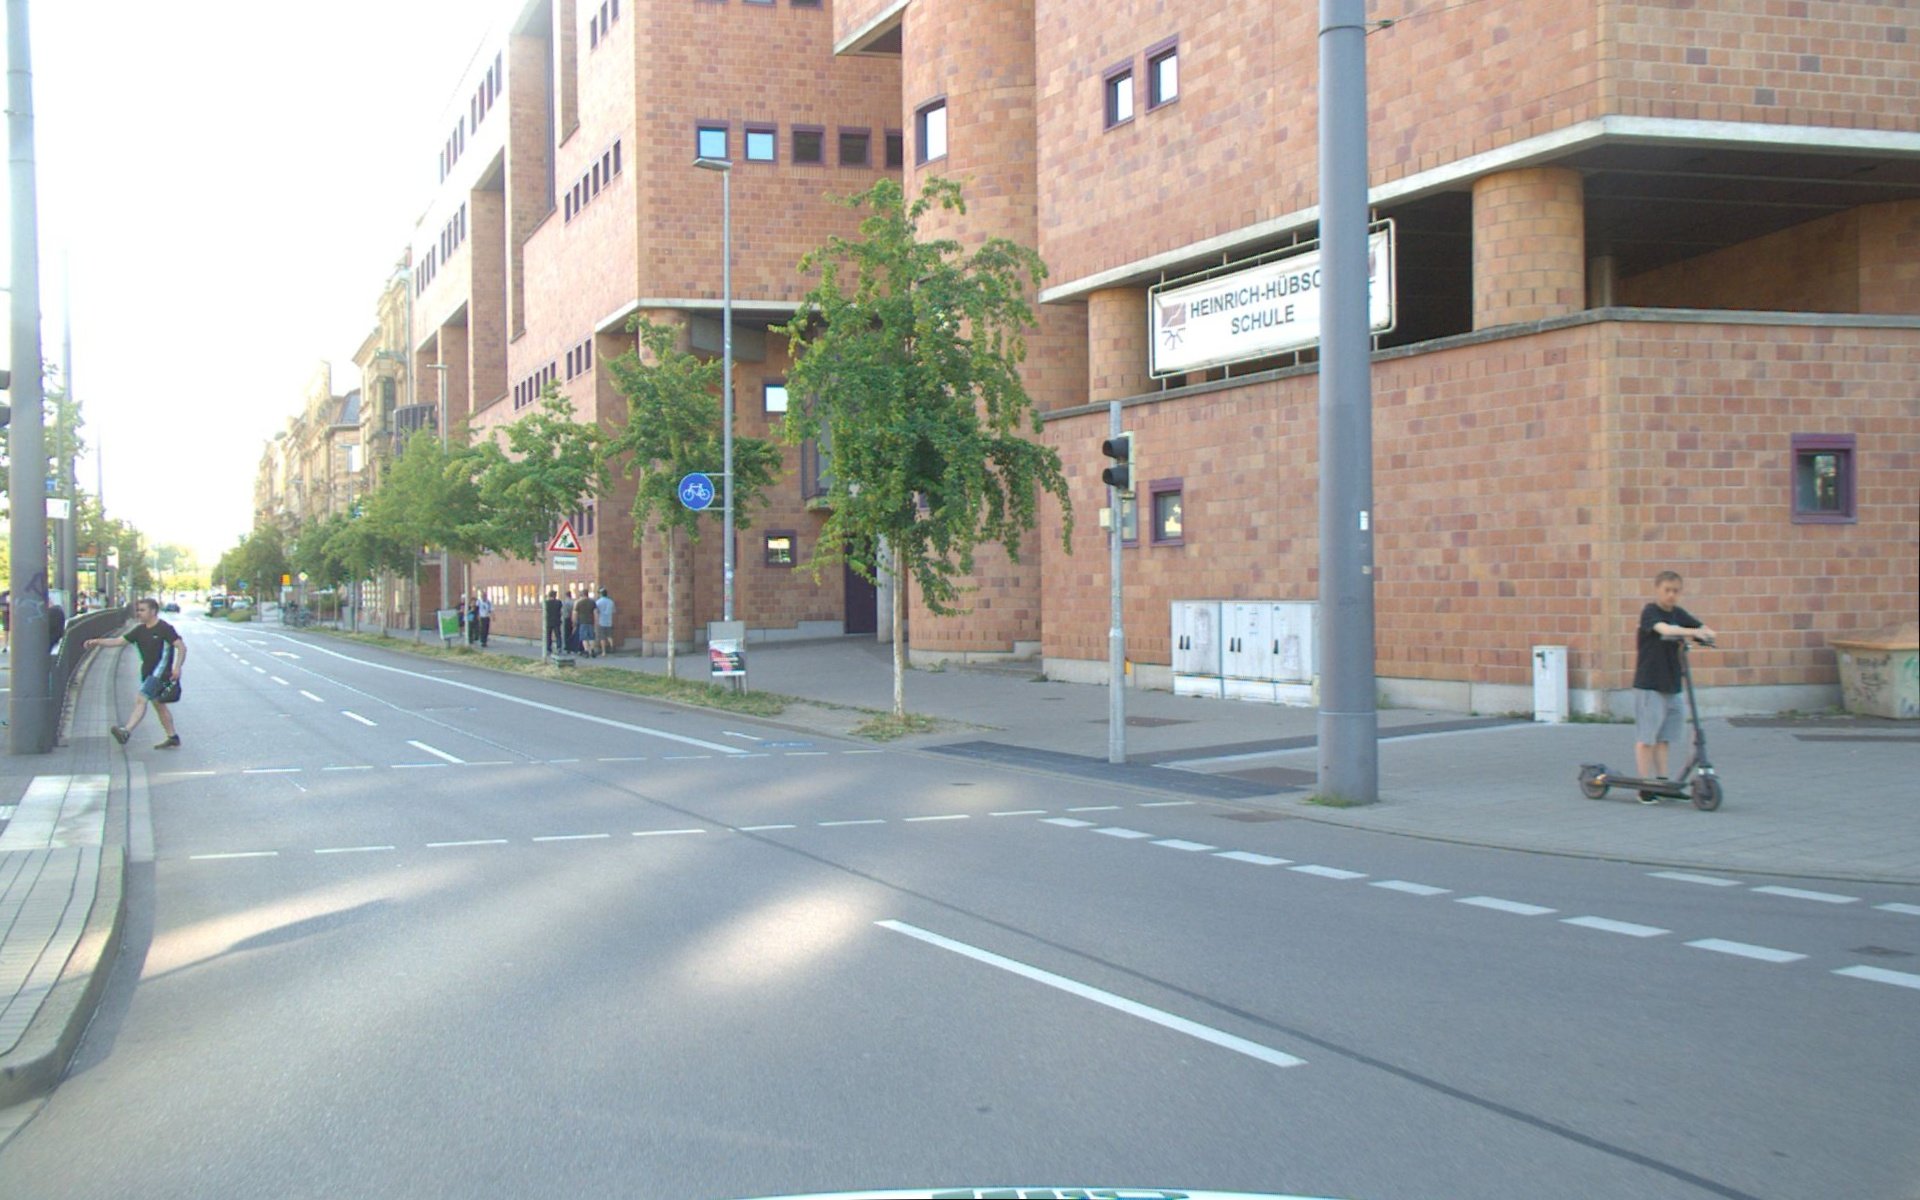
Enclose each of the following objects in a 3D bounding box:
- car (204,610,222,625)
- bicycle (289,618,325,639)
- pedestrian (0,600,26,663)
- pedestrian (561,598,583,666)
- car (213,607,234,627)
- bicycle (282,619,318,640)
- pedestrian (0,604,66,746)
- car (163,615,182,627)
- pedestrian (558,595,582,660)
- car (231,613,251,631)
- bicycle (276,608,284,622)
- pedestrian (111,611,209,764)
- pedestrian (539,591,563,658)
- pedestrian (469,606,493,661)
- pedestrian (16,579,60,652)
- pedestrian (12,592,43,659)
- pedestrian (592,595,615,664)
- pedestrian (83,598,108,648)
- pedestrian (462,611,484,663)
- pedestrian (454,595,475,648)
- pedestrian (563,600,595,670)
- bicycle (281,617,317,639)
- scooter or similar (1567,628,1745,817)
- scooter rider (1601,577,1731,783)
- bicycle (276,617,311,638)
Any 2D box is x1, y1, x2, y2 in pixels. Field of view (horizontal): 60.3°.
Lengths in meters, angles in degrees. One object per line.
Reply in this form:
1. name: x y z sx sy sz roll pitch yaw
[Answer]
1. car: -82.619 1.944 182.939 1.826 1.483 4.124 -1 1 -24
2. bicycle: -37.854 1.645 95.824 1.808 1.083 0.656 -4 3 -32
3. pedestrian: -23.021 0.755 40.048 0.674 1.509 0.821 0 0 -27
4. pedestrian: -10.287 0.848 43.862 0.527 1.787 0.692 -1 0 -16
5. car: -76.217 1.762 171.157 1.861 1.971 4.439 2 0 -24
6. bicycle: -37.667 1.669 94.394 1.808 1.083 0.656 -4 3 -32
7. pedestrian: -10.496 0.835 18.732 0.480 1.565 0.550 -1 0 -12
8. car: -102.122 2.770 214.563 1.771 1.489 3.978 -1 0 -19
9. pedestrian: -10.718 0.750 45.436 0.530 1.787 0.418 -1 0 -26
10. car: -68.146 2.082 156.757 1.615 1.511 4.181 -3 2 -23
11. bicycle: -74.010 1.619 179.913 0.653 1.427 2.332 -1 1 -26
12. pedestrian: -8.530 0.913 17.632 0.709 1.565 0.838 -1 0 -43
13. pedestrian: -11.014 0.654 44.547 0.530 1.787 0.460 -1 0 -28
14. pedestrian: -15.453 1.069 53.354 0.565 1.743 0.634 -1 0 -32
15. pedestrian: -22.144 0.368 39.752 0.878 1.701 0.666 -1 0 -28
16. pedestrian: -24.188 0.648 42.920 0.649 1.701 0.666 -1 0 -28
17. pedestrian: -9.306 0.764 43.193 0.527 1.787 0.692 -1 0 -16
18. pedestrian: -27.870 0.729 53.344 0.665 1.589 0.898 -1 0 -27
19. pedestrian: -15.461 1.165 52.489 0.511 1.633 0.697 -1 0 -31
20. pedestrian: -16.827 0.730 56.142 0.533 1.787 0.415 -1 0 -40
21. pedestrian: -9.751 0.887 42.344 0.718 1.787 0.694 -1 0 -7
22. bicycle: -38.739 1.636 96.915 1.808 1.083 0.656 -4 3 -32
23. scooter or similar: 5.237 0.889 12.478 0.523 1.341 1.119 -1 0 -34
24. scooter rider: 5.287 0.582 12.400 0.501 1.486 0.713 -1 0 -33
25. bicycle: -39.568 1.625 98.134 1.808 1.083 0.656 -4 3 -32
